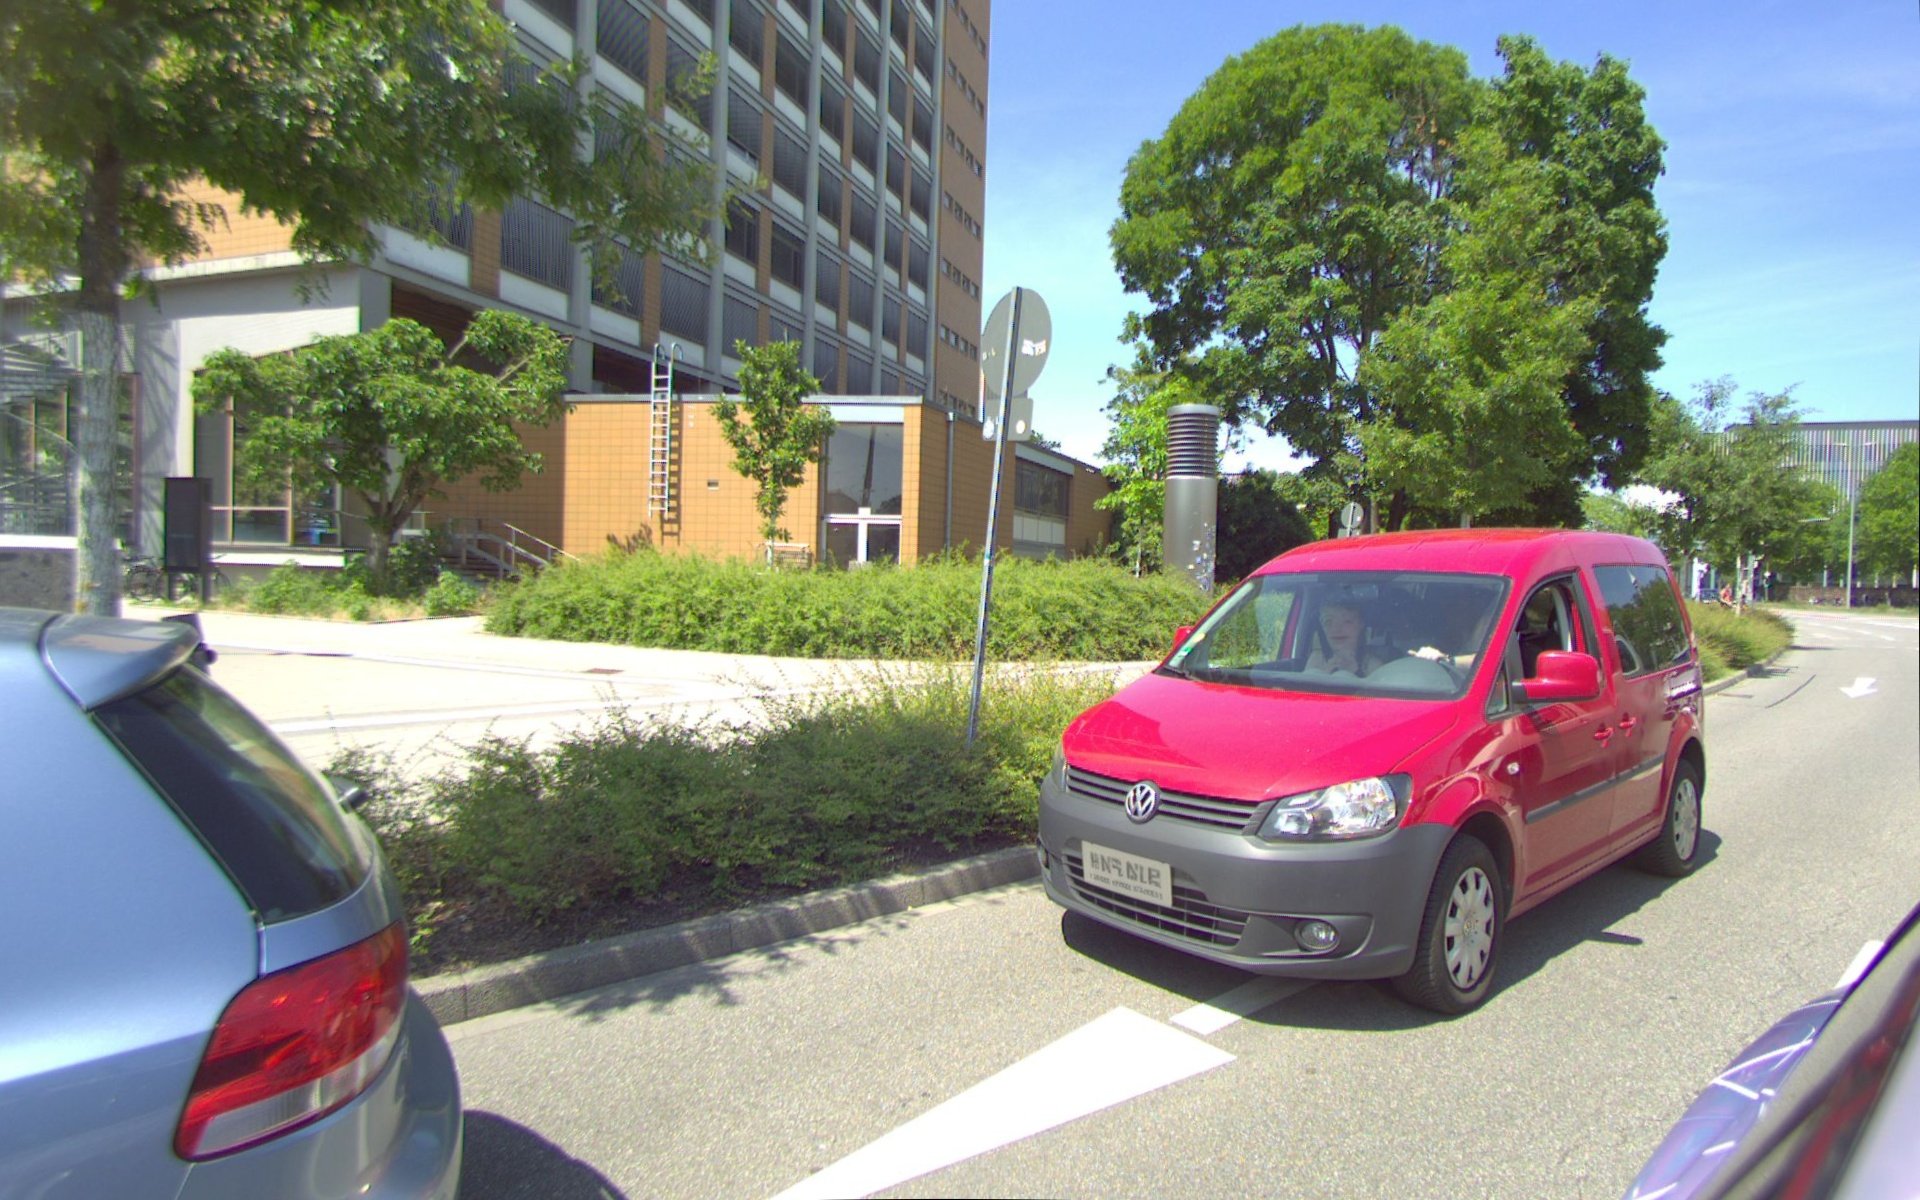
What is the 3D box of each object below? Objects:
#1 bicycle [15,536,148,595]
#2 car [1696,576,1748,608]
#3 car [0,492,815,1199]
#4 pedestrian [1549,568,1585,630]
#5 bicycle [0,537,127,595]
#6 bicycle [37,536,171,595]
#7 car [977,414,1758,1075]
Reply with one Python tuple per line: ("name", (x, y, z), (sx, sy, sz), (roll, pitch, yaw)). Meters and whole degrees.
("bicycle", (-19.496, -0.753, 22.523), (0.630, 1.233, 2.201), (0, 1, 22))
("car", (50.783, -0.553, 67.529), (1.980, 2.038, 3.964), (2, 2, 26))
("car", (-2.268, 0.619, 1.058), (3.933, 1.477, 1.654), (0, 0, -41))
("pedestrian", (18.214, -0.044, 30.377), (0.603, 1.820, 0.728), (0, 1, -39))
("bicycle", (-20.157, -0.749, 22.735), (0.630, 1.233, 2.201), (0, 1, 22))
("bicycle", (-18.699, -0.735, 22.178), (0.630, 1.233, 2.201), (0, 1, 22))
("car", (2.306, 0.391, 4.964), (4.465, 1.882, 1.655), (0, 1, -40))
